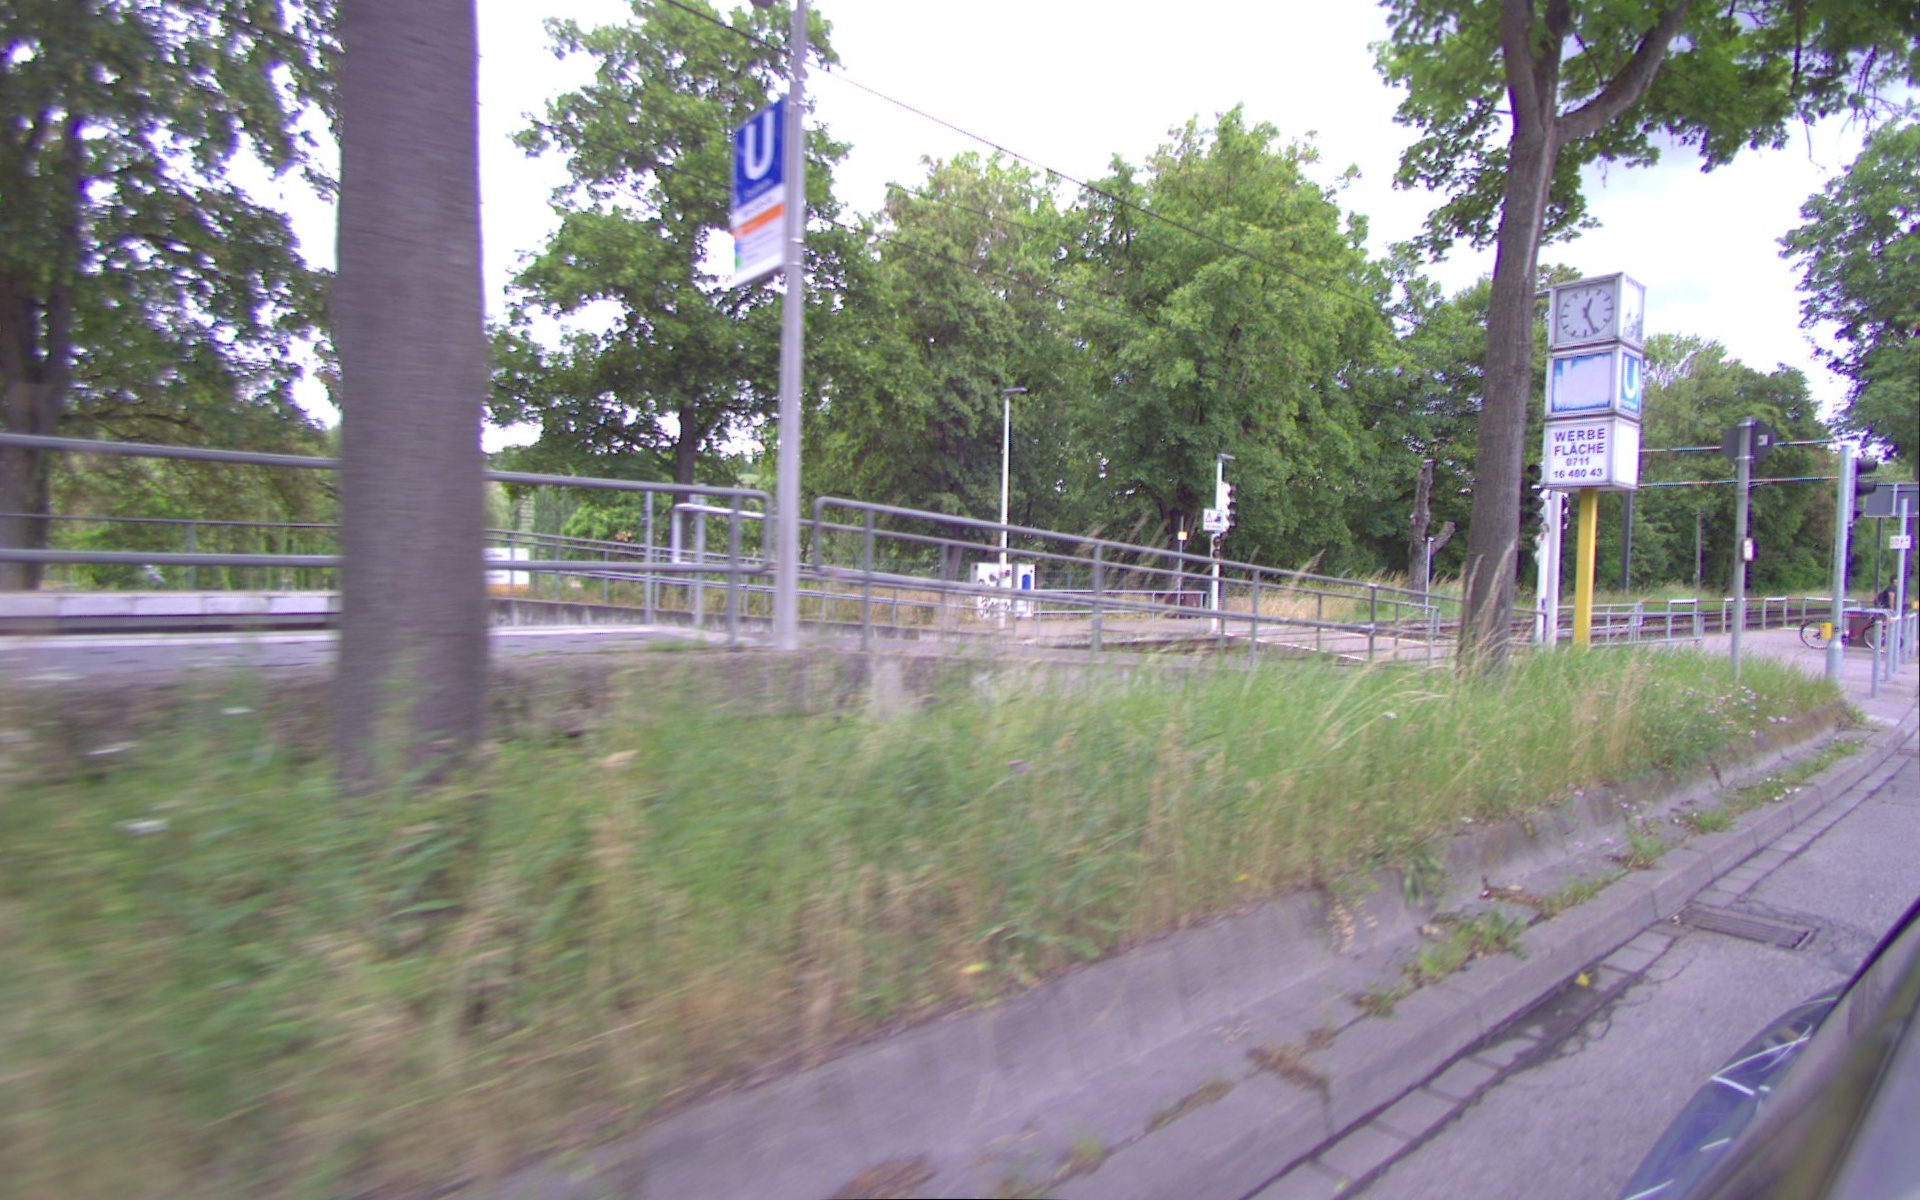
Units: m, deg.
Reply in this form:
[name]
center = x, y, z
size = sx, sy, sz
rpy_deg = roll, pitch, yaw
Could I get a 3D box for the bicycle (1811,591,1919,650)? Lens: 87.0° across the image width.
[bicycle]
center = 19.428, 0.418, 21.707
size = 0.592, 1.103, 1.677
rpy_deg = -1, 5, -43

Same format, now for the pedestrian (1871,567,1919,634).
[pedestrian]
center = 25.444, 0.008, 27.509
size = 0.824, 1.758, 0.755
rpy_deg = 0, 4, -36
